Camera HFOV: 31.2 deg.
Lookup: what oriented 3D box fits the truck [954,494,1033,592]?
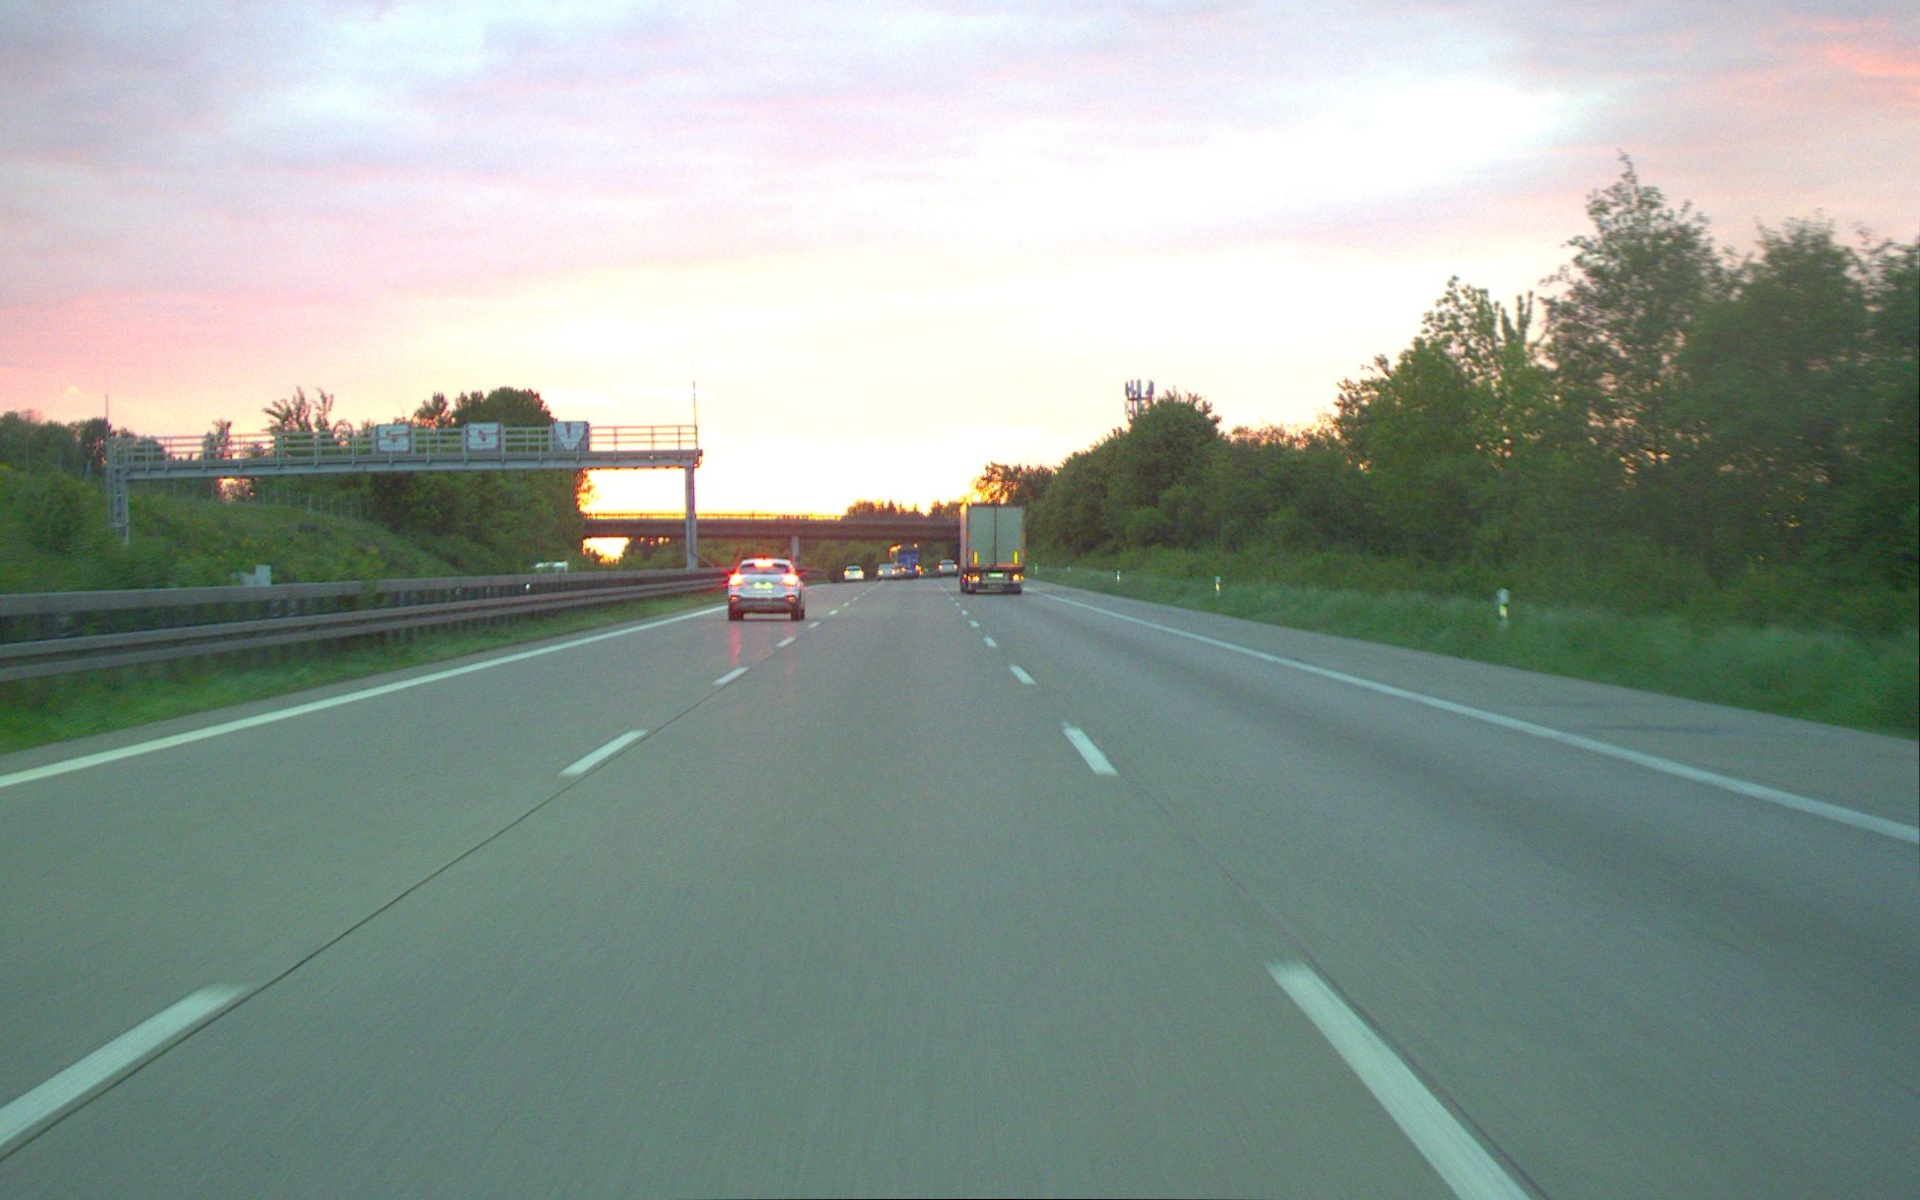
[{"bbox_3d":[1.424,-2.514,151.865,3.244,4.113,9.787,-1,1,-1],"label":"truck"}]

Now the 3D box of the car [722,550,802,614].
[{"bbox_3d":[-4.911,-0.465,85.657,1.789,1.495,5.038,1,1,-1],"label":"car"}]
